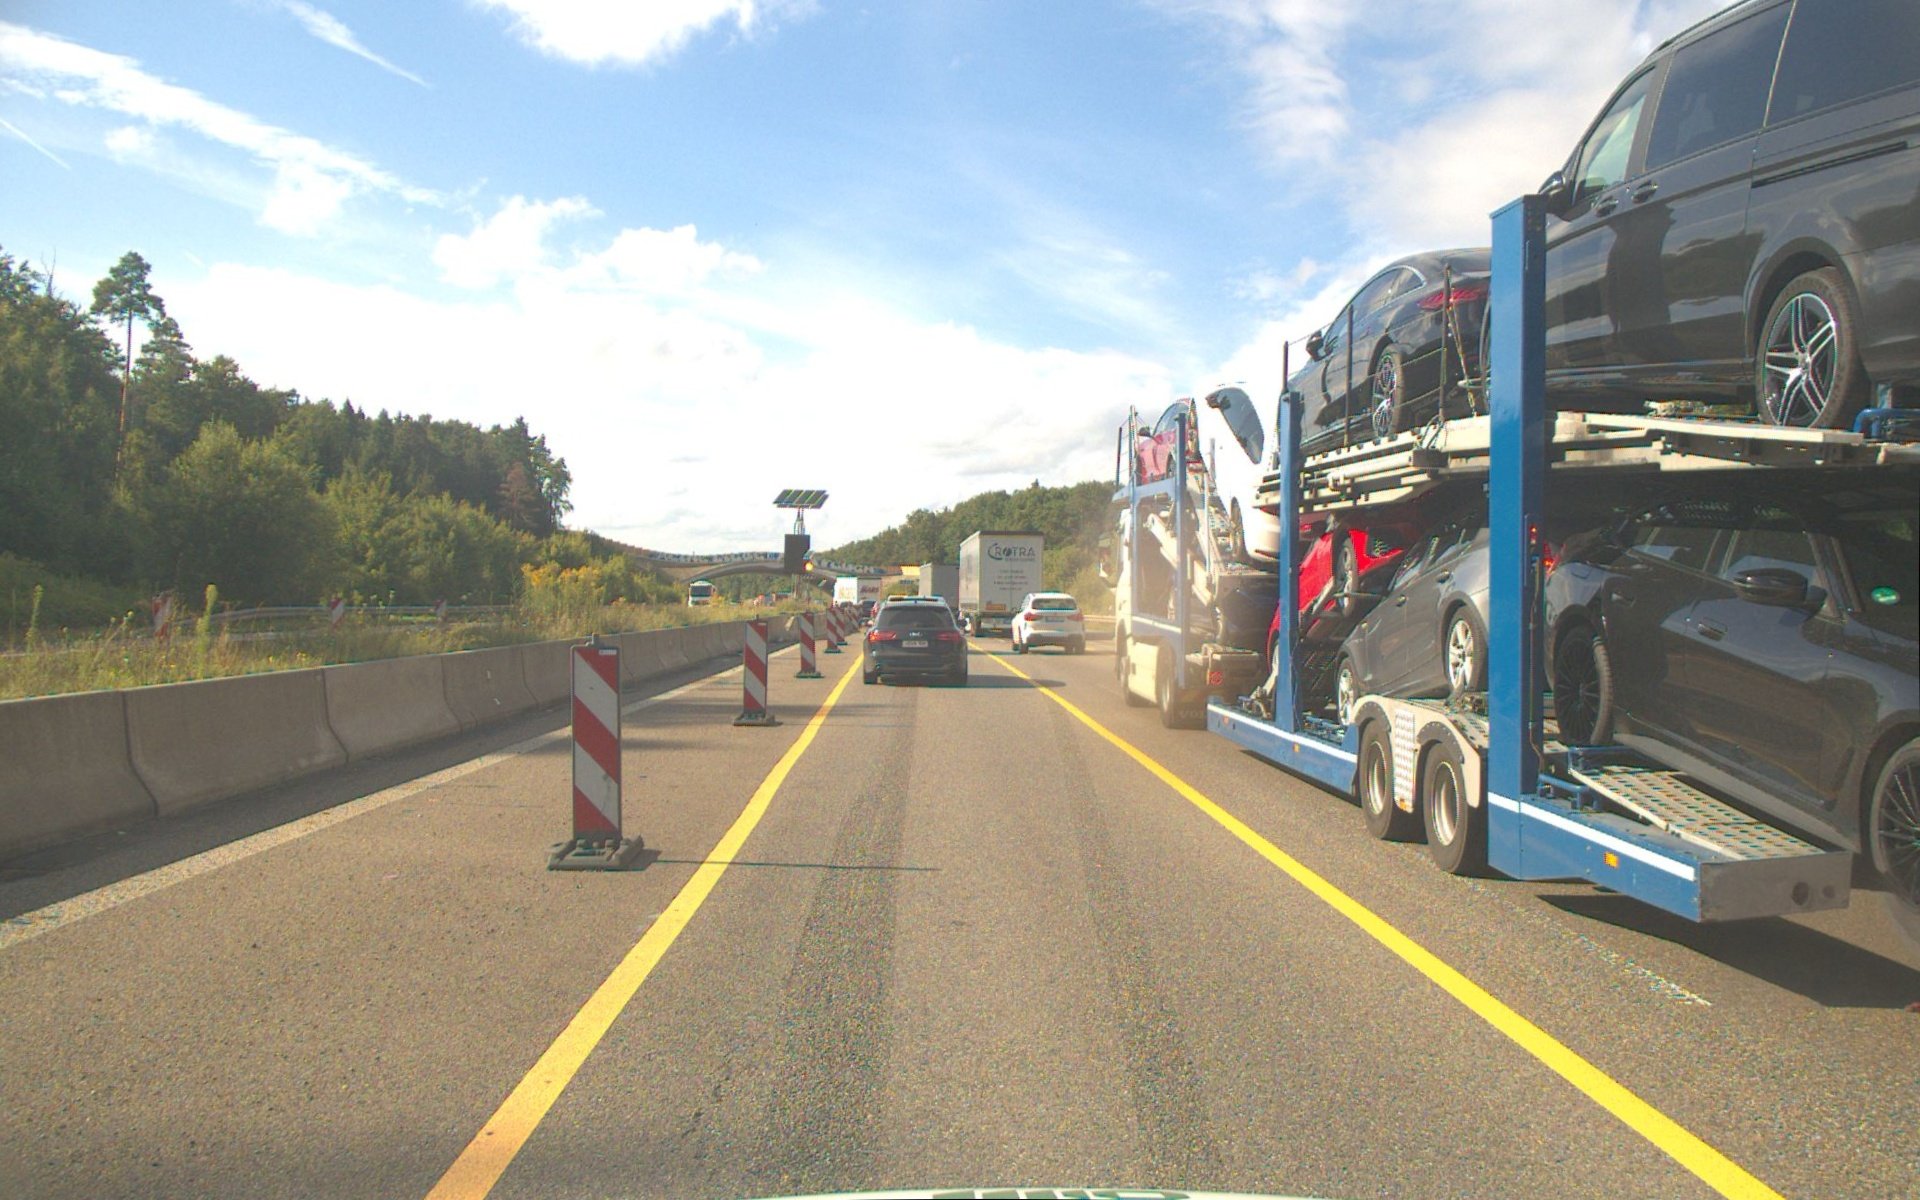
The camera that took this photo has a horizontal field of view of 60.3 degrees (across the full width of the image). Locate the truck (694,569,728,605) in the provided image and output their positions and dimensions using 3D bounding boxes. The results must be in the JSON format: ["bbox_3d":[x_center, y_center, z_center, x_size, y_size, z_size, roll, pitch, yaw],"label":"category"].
[{"bbox_3d":[-25.221,-1.302,167.751,2.728,3.551,4.938,1,0,-1],"label":"truck"}]

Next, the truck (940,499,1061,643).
[{"bbox_3d":[1.455,-1.066,71.176,3.605,5.447,16.186,1,0,-4],"label":"truck"}]

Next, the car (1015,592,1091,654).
[{"bbox_3d":[2.589,0.634,47.023,1.852,1.672,4.017,1,0,-1],"label":"car"}]

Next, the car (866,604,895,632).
[{"bbox_3d":[-6.036,1.372,125.399,1.955,2.049,3.994,1,0,-6],"label":"car"}]

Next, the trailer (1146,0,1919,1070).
[{"bbox_3d":[4.447,-0.660,12.135,3.651,4.270,16.218,1,0,-2],"label":"trailer"}]

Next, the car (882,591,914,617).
[{"bbox_3d":[-4.094,0.264,108.347,1.853,1.672,4.013,1,0,-5],"label":"car"}]

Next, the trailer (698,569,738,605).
[{"bbox_3d":[-25.397,-1.301,173.969,2.745,3.551,11.109,1,0,-1],"label":"trailer"}]

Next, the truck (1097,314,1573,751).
[{"bbox_3d":[4.069,-0.642,20.372,3.686,4.270,7.946,1,0,-3],"label":"truck"}]

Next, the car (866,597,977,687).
[{"bbox_3d":[-0.677,0.712,29.715,1.852,1.472,3.999,1,0,-1],"label":"car"}]

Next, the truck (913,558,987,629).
[{"bbox_3d":[-0.835,-0.408,116.436,4.235,4.681,11.112,1,0,-5],"label":"truck"}]

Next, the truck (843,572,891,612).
[{"bbox_3d":[-9.833,-0.758,173.191,3.589,3.997,11.037,1,0,-11],"label":"truck"}]
